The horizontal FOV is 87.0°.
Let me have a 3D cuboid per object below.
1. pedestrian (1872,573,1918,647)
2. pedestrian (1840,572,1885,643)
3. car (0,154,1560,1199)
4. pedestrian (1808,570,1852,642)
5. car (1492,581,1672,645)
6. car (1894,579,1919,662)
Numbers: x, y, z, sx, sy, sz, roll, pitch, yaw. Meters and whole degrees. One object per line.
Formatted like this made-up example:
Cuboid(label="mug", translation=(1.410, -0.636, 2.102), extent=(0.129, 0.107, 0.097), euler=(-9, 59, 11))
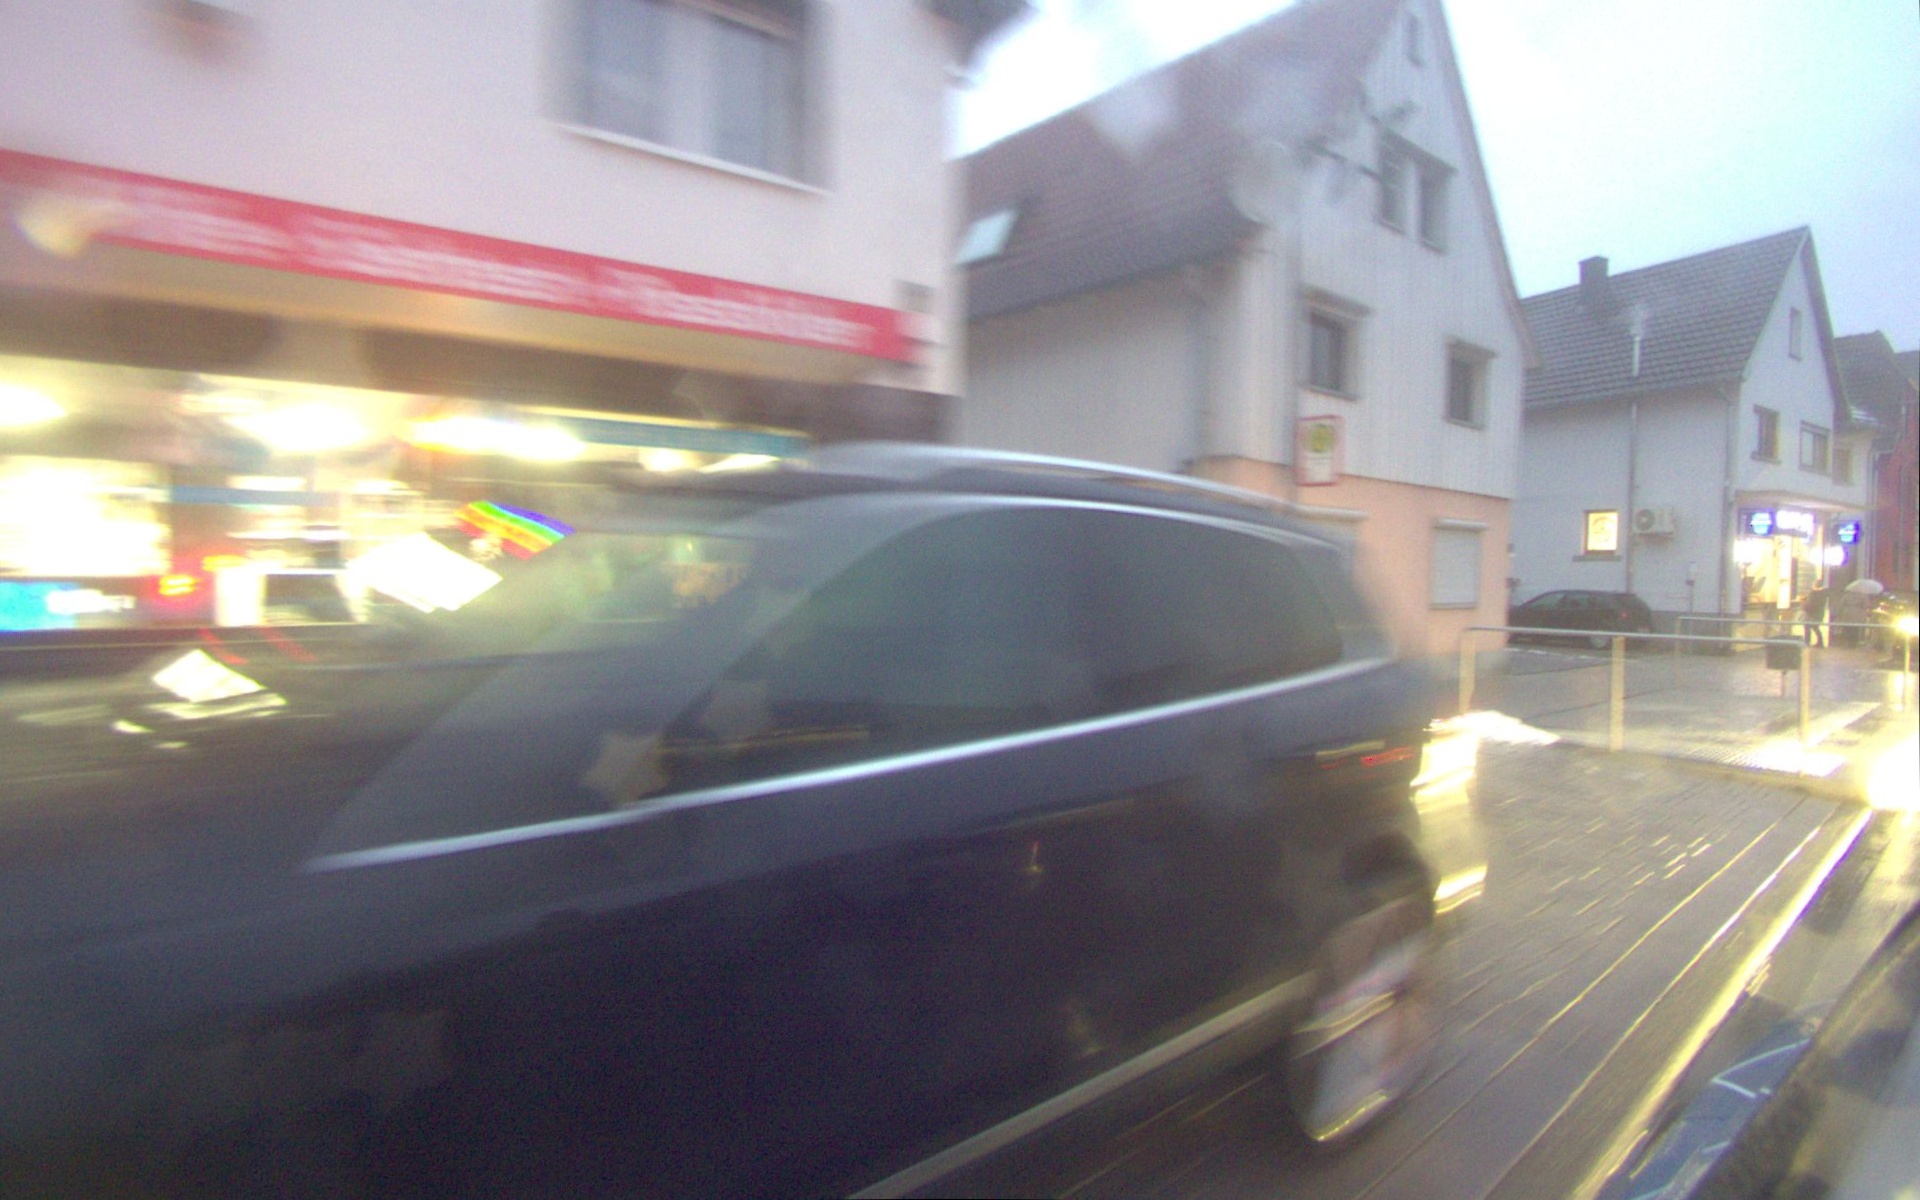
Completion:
Cuboid(label="pedestrian", translation=(22.933, 0.241, 24.827), extent=(0.459, 1.742, 0.651), euler=(1, 2, -34))
Cuboid(label="pedestrian", translation=(23.895, 0.187, 26.795), extent=(0.498, 1.819, 0.652), euler=(2, 2, -29))
Cuboid(label="car", translation=(-0.542, 0.427, 2.386), extent=(4.380, 1.681, 1.979), euler=(0, 2, -40))
Cuboid(label="pedestrian", translation=(21.837, 0.145, 25.399), extent=(0.638, 1.742, 0.610), euler=(1, 2, -34))
Cuboid(label="car", translation=(15.817, 0.294, 25.917), extent=(1.627, 1.403, 3.568), euler=(1, 2, -28))
Cuboid(label="car", translation=(23.065, 0.473, 23.125), extent=(4.440, 1.806, 1.998), euler=(0, 2, -41))
